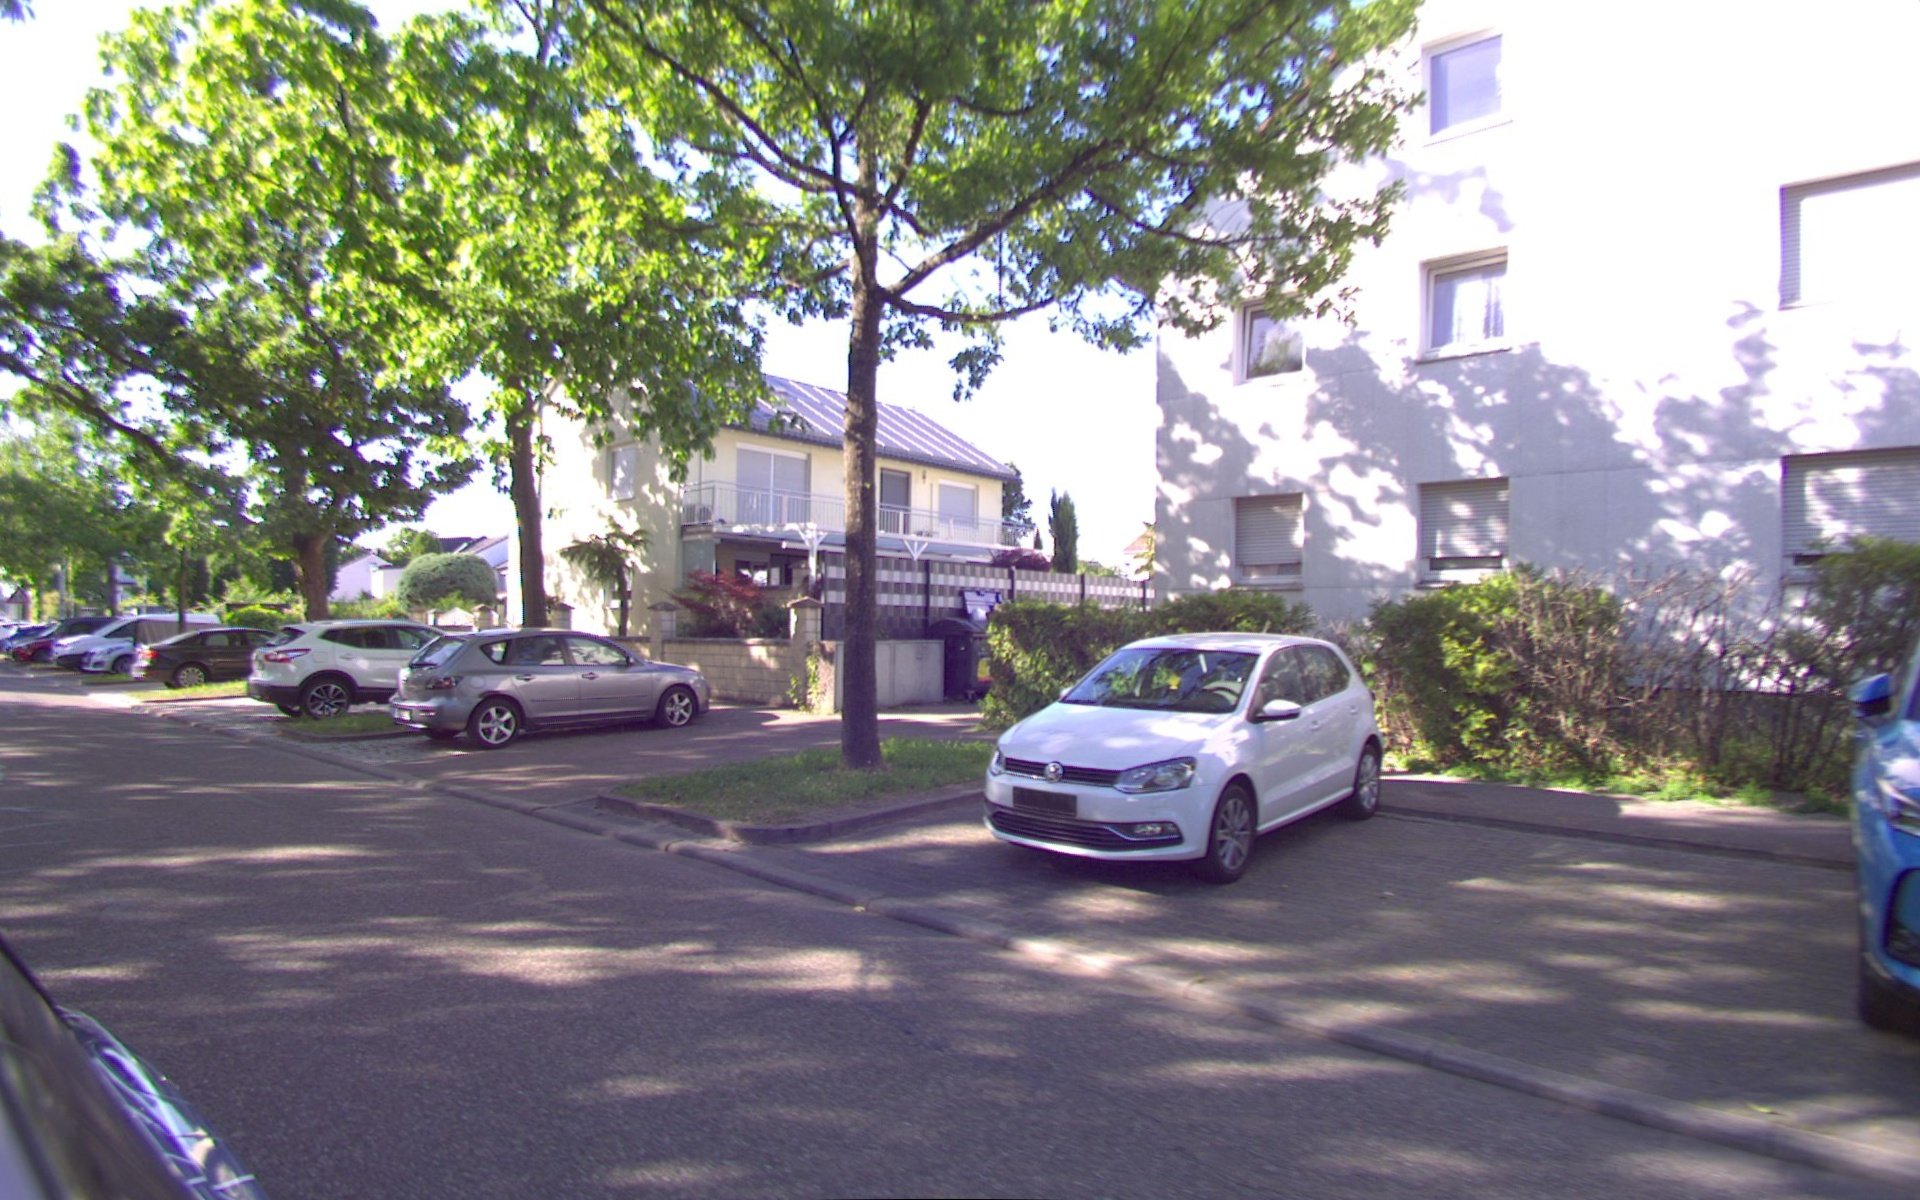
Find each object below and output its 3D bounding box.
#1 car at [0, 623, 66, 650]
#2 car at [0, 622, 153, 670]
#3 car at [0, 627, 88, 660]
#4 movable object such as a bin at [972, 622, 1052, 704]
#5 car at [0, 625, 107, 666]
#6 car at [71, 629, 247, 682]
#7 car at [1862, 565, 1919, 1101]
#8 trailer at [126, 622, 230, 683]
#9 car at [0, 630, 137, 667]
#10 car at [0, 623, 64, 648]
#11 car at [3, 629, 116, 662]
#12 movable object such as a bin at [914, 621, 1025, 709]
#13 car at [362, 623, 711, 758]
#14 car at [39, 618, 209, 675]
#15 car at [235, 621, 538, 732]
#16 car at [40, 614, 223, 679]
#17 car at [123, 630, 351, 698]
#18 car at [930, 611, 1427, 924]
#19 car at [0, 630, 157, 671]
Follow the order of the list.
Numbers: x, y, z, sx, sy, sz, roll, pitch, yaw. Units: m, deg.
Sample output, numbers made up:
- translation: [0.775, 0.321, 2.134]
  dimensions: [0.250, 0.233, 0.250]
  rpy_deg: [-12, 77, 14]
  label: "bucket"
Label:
- translation: [-58.642, 2.263, 63.171]
  dimensions: [1.919, 1.586, 3.916]
  rpy_deg: [0, -1, 37]
  label: "car"
- translation: [-35.716, 1.814, 40.926]
  dimensions: [1.794, 1.782, 4.624]
  rpy_deg: [-2, -1, 41]
  label: "car"
- translation: [-48.580, 2.257, 53.326]
  dimensions: [1.707, 1.626, 3.894]
  rpy_deg: [-2, -1, 45]
  label: "car"
- translation: [0.973, 1.158, 18.861]
  dimensions: [1.123, 1.447, 0.943]
  rpy_deg: [0, -2, 41]
  label: "movable object such as a bin"
- translation: [-41.432, 2.019, 45.792]
  dimensions: [1.760, 1.737, 4.164]
  rpy_deg: [-1, -1, 42]
  label: "car"
- translation: [-24.482, 1.670, 31.041]
  dimensions: [1.688, 1.528, 3.948]
  rpy_deg: [-1, -3, 39]
  label: "car"
- translation: [5.079, 0.714, 4.196]
  dimensions: [1.937, 1.643, 4.477]
  rpy_deg: [0, 0, 41]
  label: "car"
- translation: [-22.756, 1.518, 29.475]
  dimensions: [2.210, 1.686, 1.475]
  rpy_deg: [2, -3, -44]
  label: "trailer"
- translation: [-37.812, 2.022, 42.947]
  dimensions: [1.722, 1.435, 4.229]
  rpy_deg: [-1, -1, 39]
  label: "car"
- translation: [-57.067, 2.183, 61.710]
  dimensions: [1.707, 1.507, 3.477]
  rpy_deg: [-2, -3, 41]
  label: "car"
- translation: [-43.910, 2.204, 49.396]
  dimensions: [1.796, 1.526, 3.956]
  rpy_deg: [-2, -3, 44]
  label: "car"
- translation: [0.174, 1.115, 17.832]
  dimensions: [1.275, 1.445, 1.479]
  rpy_deg: [0, -2, 41]
  label: "movable object such as a bin"
- translation: [-5.587, 1.086, 13.747]
  dimensions: [1.808, 1.434, 3.993]
  rpy_deg: [-1, 0, 40]
  label: "car"
- translation: [-28.514, 1.522, 34.612]
  dimensions: [1.965, 1.783, 4.196]
  rpy_deg: [-1, -1, 39]
  label: "car"
- translation: [-9.607, 1.183, 17.178]
  dimensions: [1.792, 1.579, 4.142]
  rpy_deg: [-2, -1, 43]
  label: "car"
- translation: [-26.638, 1.506, 32.653]
  dimensions: [1.998, 1.959, 4.194]
  rpy_deg: [-1, -3, 39]
  label: "car"
- translation: [-17.102, 1.467, 24.087]
  dimensions: [1.691, 1.483, 4.163]
  rpy_deg: [-1, -3, 44]
  label: "car"
- translation: [1.793, 0.952, 7.348]
  dimensions: [1.856, 1.608, 3.945]
  rpy_deg: [-2, -3, 41]
  label: "car"
- translation: [-33.992, 1.926, 39.073]
  dimensions: [1.837, 1.511, 4.427]
  rpy_deg: [-1, -3, 43]
  label: "car"
